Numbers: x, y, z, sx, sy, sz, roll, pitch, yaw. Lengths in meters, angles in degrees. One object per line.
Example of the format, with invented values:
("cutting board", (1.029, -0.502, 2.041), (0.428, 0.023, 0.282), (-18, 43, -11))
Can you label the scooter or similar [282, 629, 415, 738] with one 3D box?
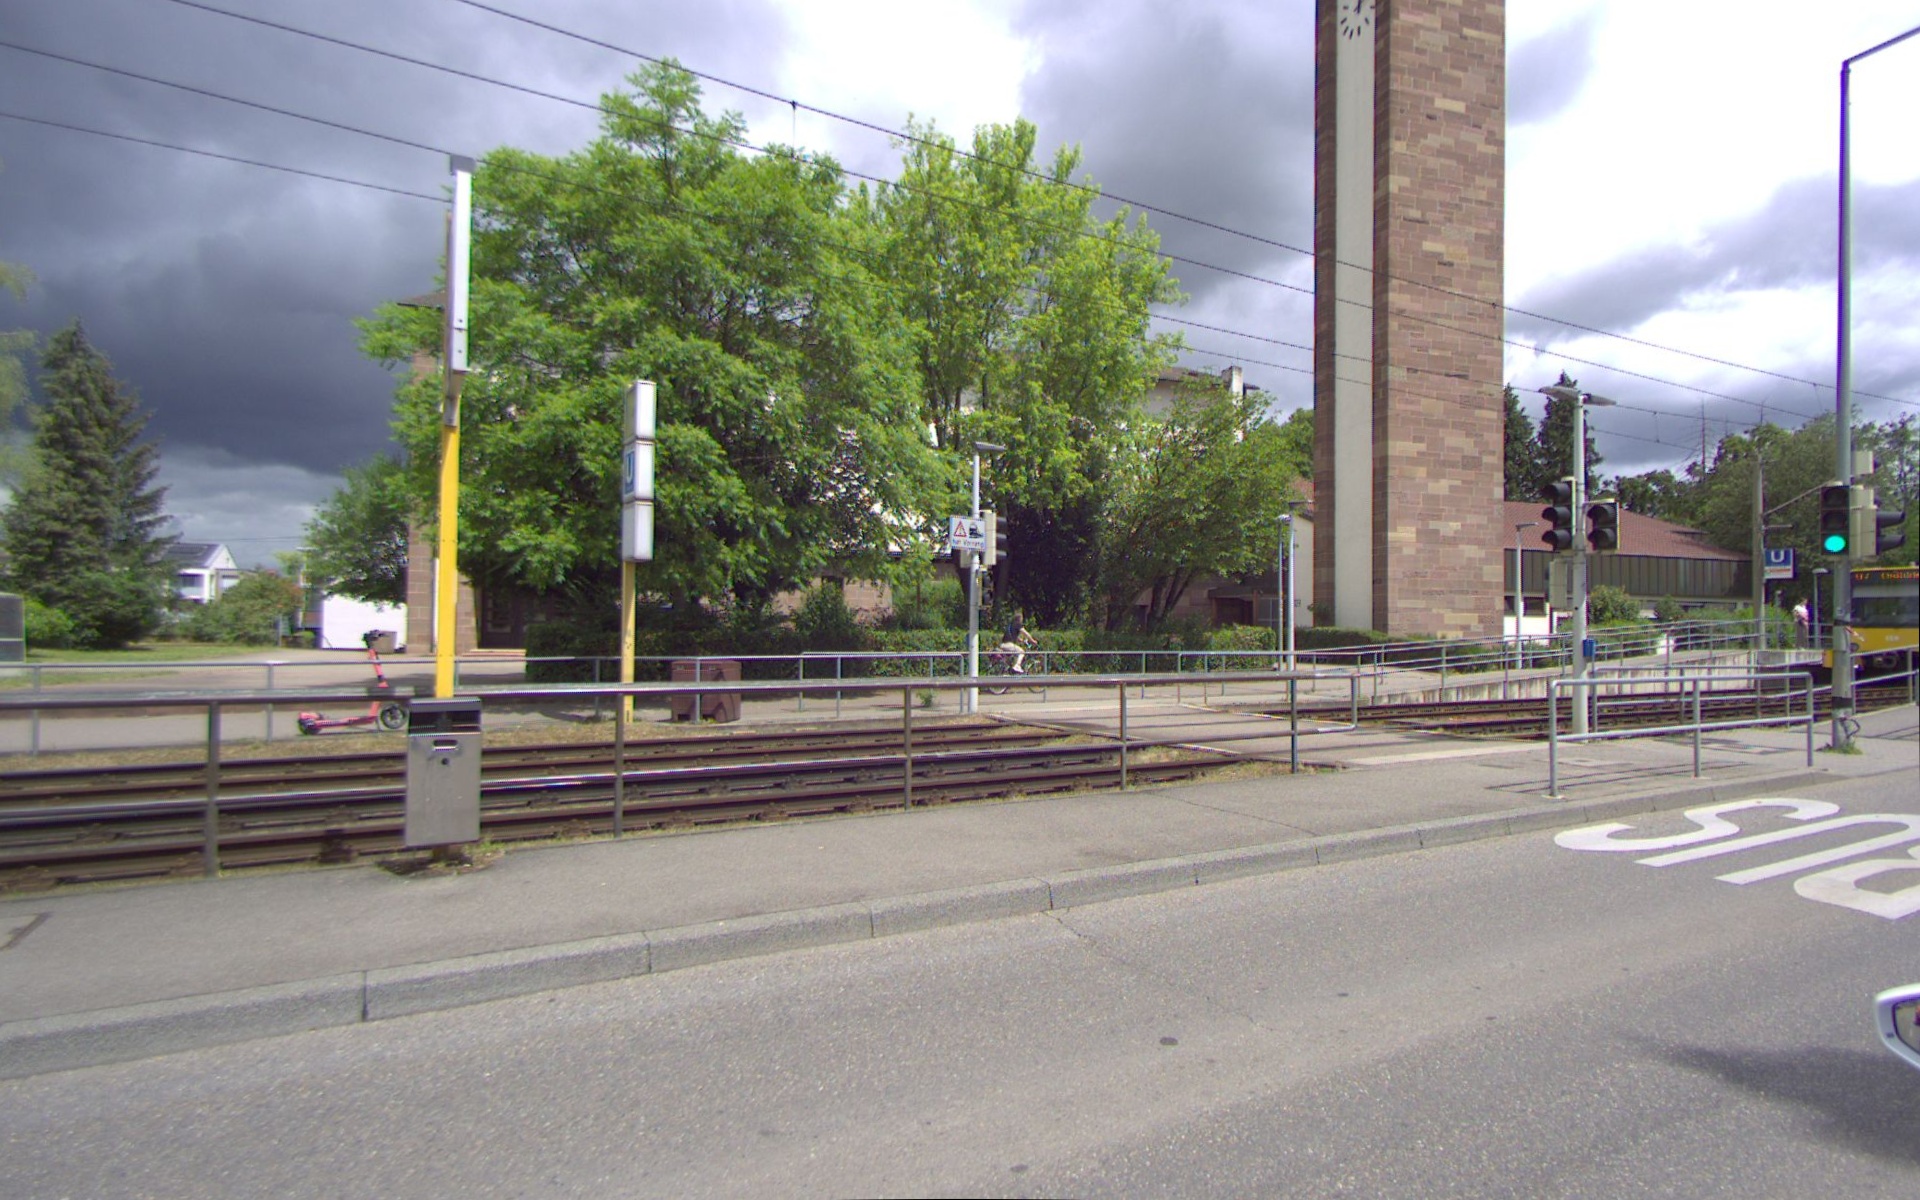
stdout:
("scooter or similar", (-7.573, 1.005, 12.503), (1.384, 1.253, 0.646), (1, 0, -30))

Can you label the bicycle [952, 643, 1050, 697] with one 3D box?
("bicycle", (0.827, 1.382, 20.075), (1.906, 1.007, 0.634), (2, 0, -31))

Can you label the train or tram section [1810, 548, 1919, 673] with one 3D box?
("train or tram section", (34.615, 0.521, 33.945), (18.608, 3.511, 3.092), (2, 0, -31))

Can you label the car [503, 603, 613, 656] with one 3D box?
("car", (-16.056, 1.205, 40.341), (3.936, 2.040, 1.992), (1, -1, -18))

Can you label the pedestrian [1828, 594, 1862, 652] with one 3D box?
("pedestrian", (31.799, 0.834, 36.099), (0.724, 2.040, 0.708), (1, 0, -32))

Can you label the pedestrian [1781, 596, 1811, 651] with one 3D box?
("pedestrian", (28.042, 0.790, 33.693), (0.569, 1.801, 0.581), (1, 0, -30))

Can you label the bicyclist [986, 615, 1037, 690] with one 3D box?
("bicyclist", (1.029, 1.046, 20.196), (0.781, 1.448, 0.630), (1, 0, -30))
